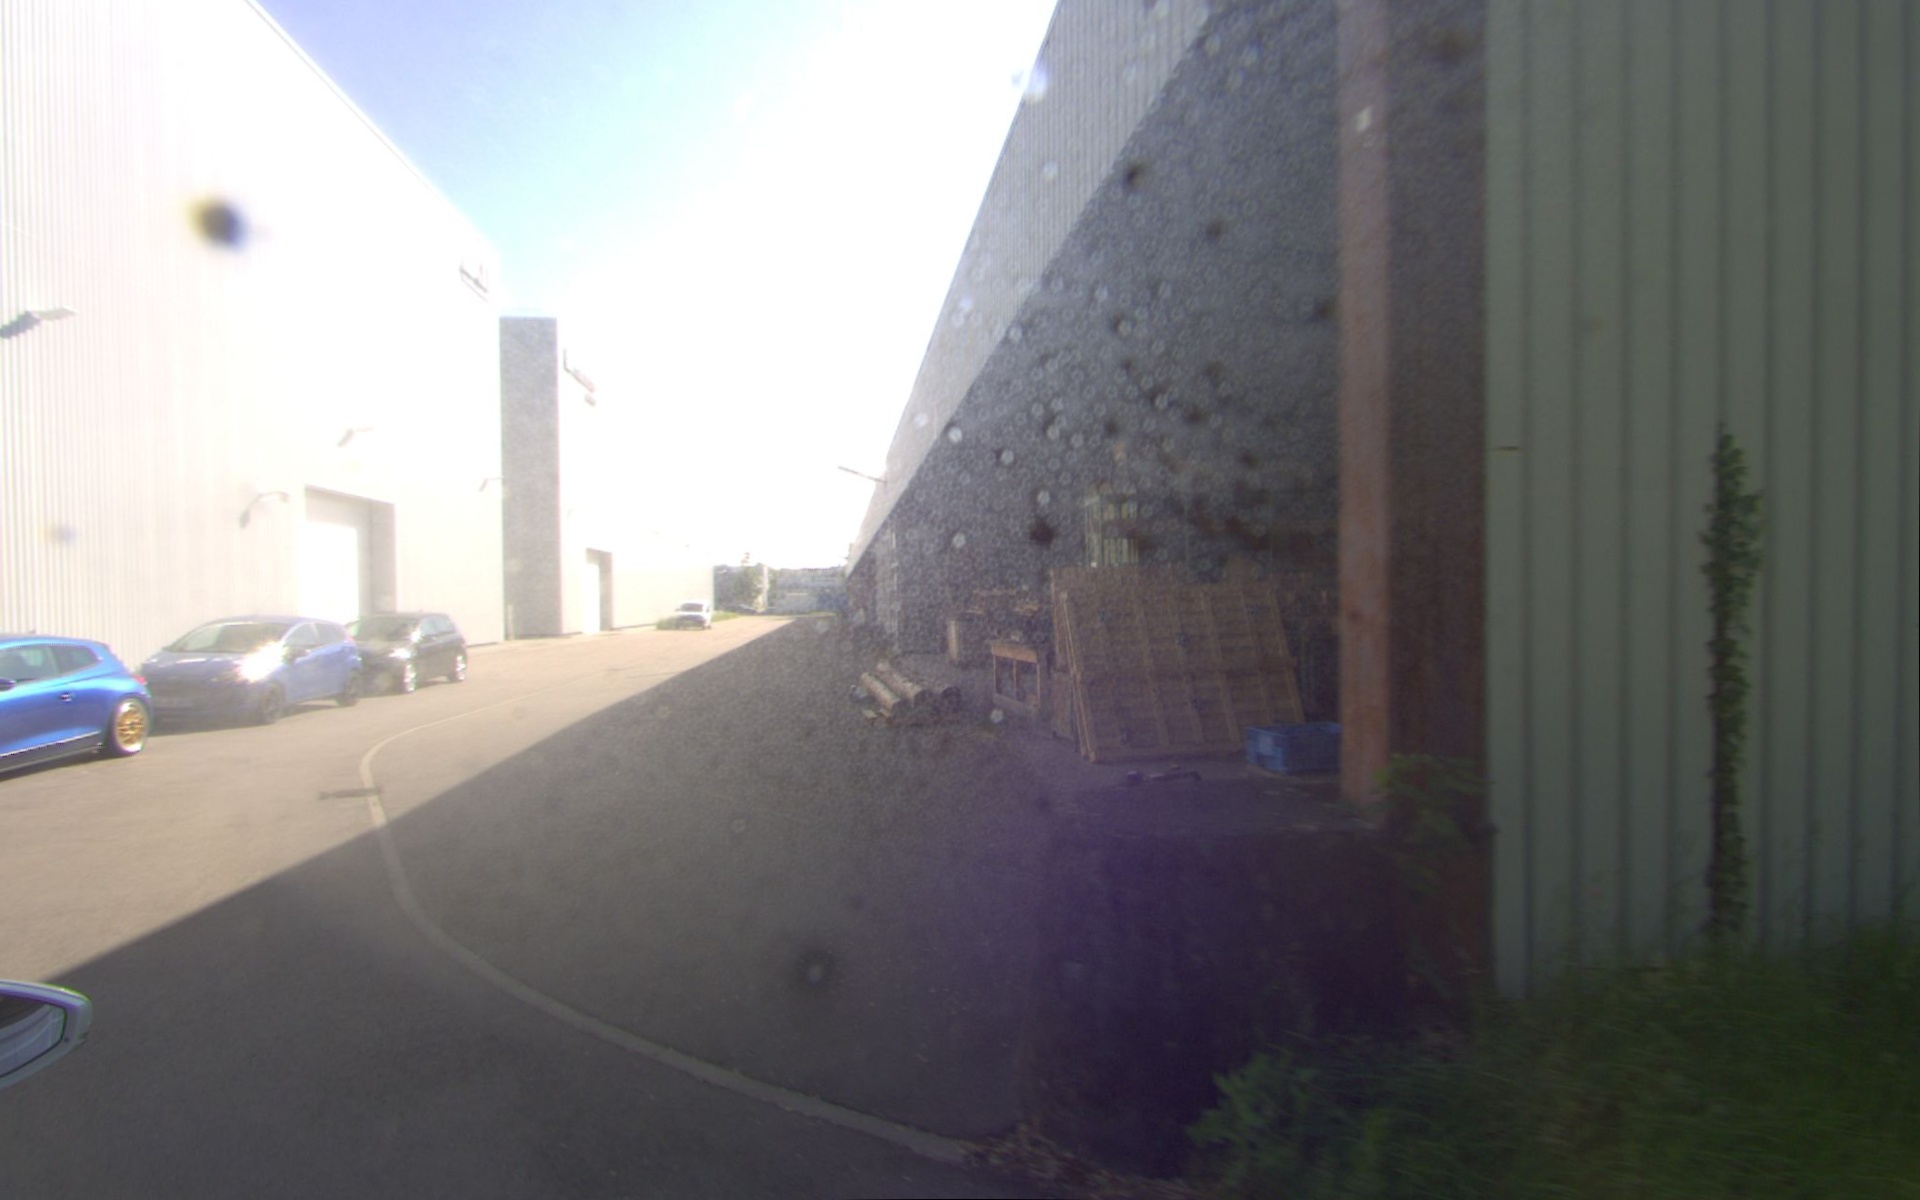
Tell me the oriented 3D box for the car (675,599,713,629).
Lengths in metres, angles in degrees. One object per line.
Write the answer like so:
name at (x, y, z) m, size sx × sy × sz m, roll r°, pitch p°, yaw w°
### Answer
car at (-16.491, 0.839, 62.244) m, size 1.878 × 1.817 × 3.997 m, roll 0°, pitch 0°, yaw -9°

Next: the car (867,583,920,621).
car at (-4.613, 0.144, 69.159) m, size 3.449 × 2.474 × 1.999 m, roll -1°, pitch 1°, yaw -7°

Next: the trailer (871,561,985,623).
trailer at (-1.924, -0.471, 58.274) m, size 6.287 × 3.415 × 2.823 m, roll -1°, pitch 1°, yaw -8°

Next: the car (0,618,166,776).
car at (-9.603, 0.902, 9.359) m, size 1.642 × 1.368 × 3.951 m, roll 1°, pitch 0°, yaw -8°

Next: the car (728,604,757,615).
car at (-31.009, 1.390, 142.930) m, size 3.823 × 1.481 × 1.622 m, roll 0°, pitch 0°, yaw -8°

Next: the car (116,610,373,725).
car at (-10.419, 0.899, 14.933) m, size 1.594 × 1.466 × 3.762 m, roll 1°, pitch 0°, yaw -9°

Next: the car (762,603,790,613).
car at (-26.165, 1.134, 142.650) m, size 3.822 × 1.481 × 1.622 m, roll 0°, pitch 0°, yaw -5°

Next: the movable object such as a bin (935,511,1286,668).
movable object such as a bin at (3.047, -0.237, 21.196) m, size 6.825 × 2.944 × 2.684 m, roll -1°, pitch 1°, yaw -8°

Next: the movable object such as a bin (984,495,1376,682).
movable object such as a bin at (3.762, -0.220, 17.904) m, size 6.253 × 2.944 × 2.684 m, roll -1°, pitch 1°, yaw -8°

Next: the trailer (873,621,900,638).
trailer at (-2.851, 1.149, 38.866) m, size 0.956 × 0.575 × 0.731 m, roll 1°, pitch 2°, yaw -12°

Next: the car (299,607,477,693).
car at (-11.097, 0.912, 19.727) m, size 1.624 × 1.465 × 3.876 m, roll 3°, pitch -1°, yaw -7°
